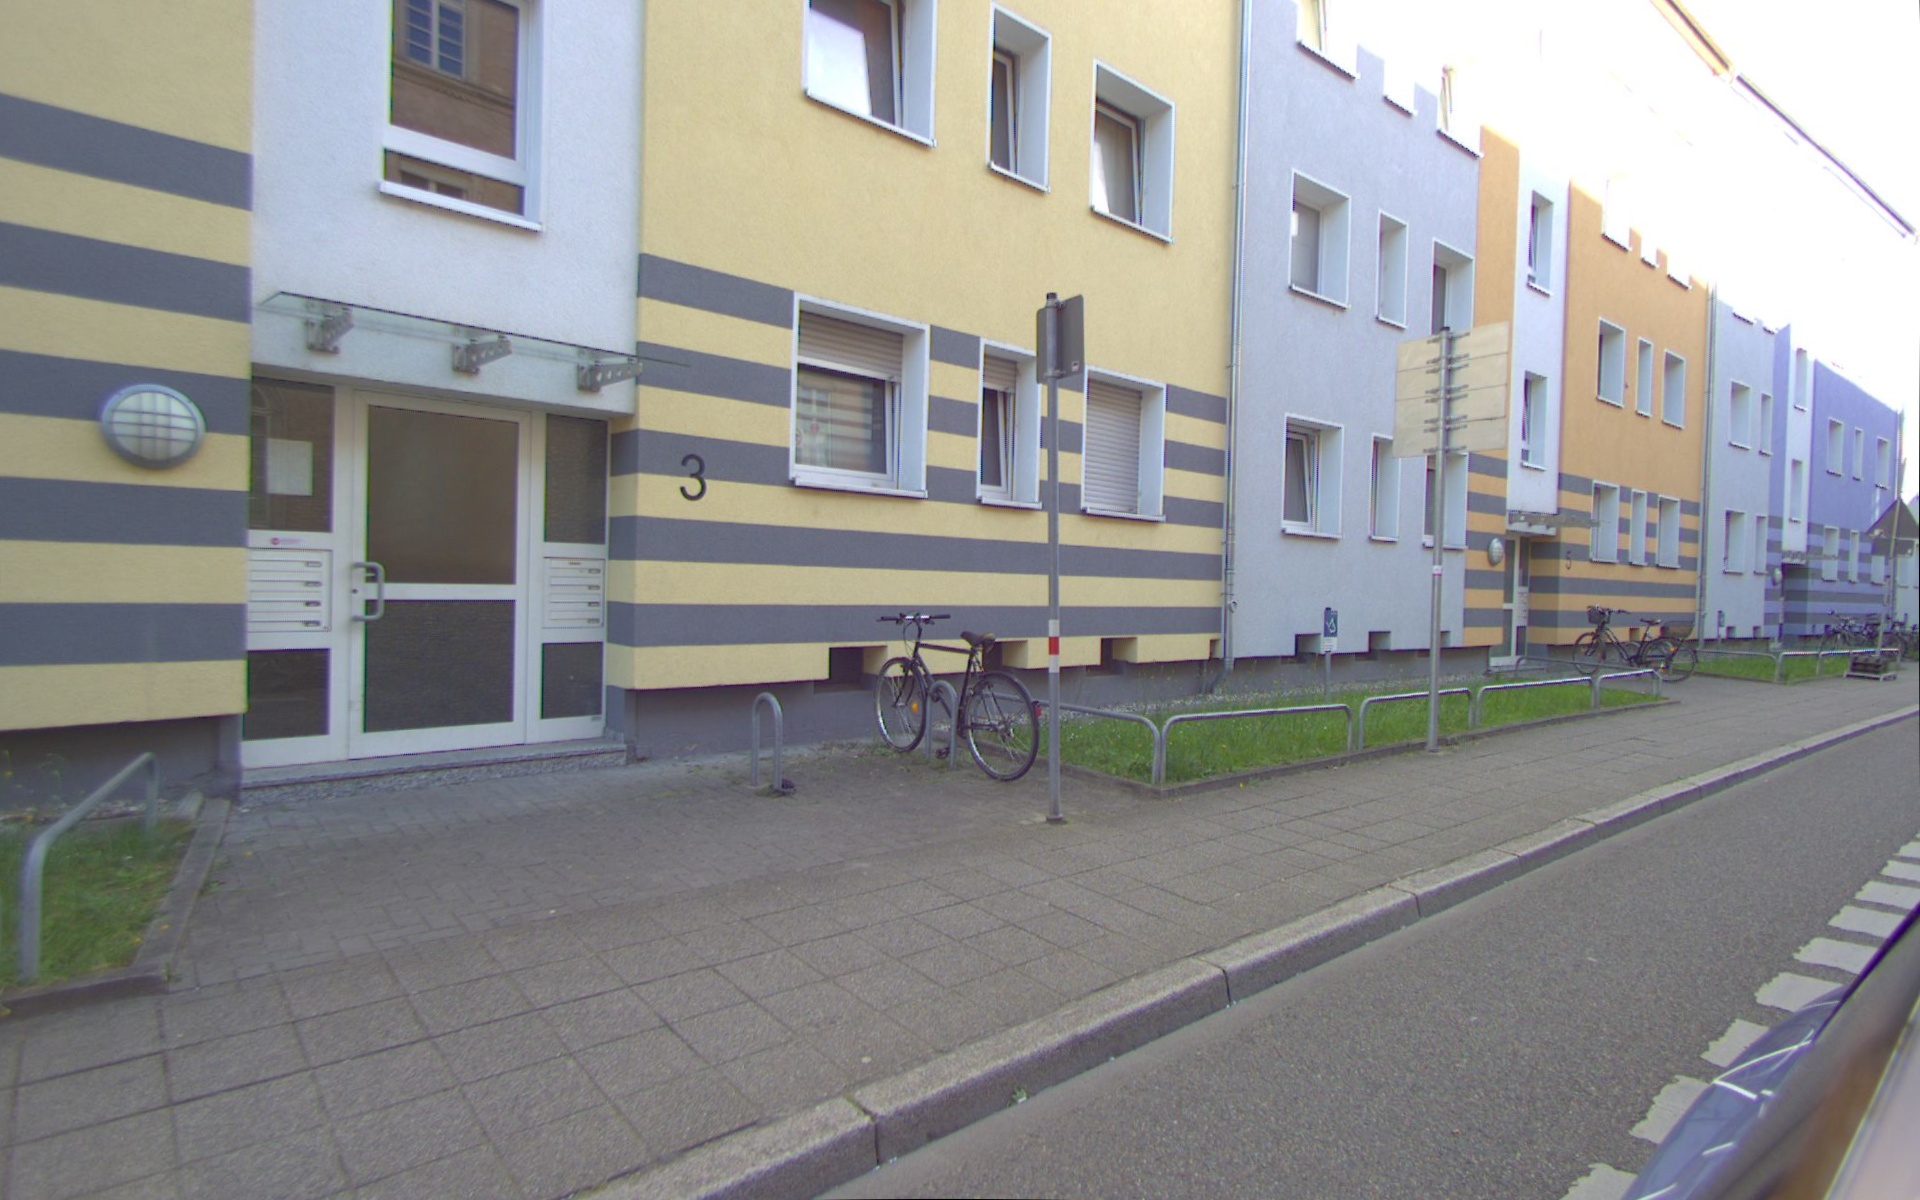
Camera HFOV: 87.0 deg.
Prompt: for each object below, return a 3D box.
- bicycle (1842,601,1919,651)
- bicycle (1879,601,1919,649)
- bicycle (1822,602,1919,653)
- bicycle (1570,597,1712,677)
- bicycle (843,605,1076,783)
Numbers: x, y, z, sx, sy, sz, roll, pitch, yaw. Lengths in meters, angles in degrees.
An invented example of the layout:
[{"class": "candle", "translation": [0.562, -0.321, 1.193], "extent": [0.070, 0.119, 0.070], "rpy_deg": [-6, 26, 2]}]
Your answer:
[{"class": "bicycle", "translation": [23.327, 0.635, 25.436], "extent": [0.475, 1.166, 1.678], "rpy_deg": [1, 1, -37]}, {"class": "bicycle", "translation": [24.155, 0.647, 25.292], "extent": [0.475, 1.166, 1.678], "rpy_deg": [1, 1, -37]}, {"class": "bicycle", "translation": [22.246, 0.652, 24.743], "extent": [0.475, 1.166, 1.678], "rpy_deg": [1, 1, -37]}, {"class": "bicycle", "translation": [10.707, 0.555, 15.961], "extent": [1.775, 1.137, 0.476], "rpy_deg": [3, 1, 44]}, {"class": "bicycle", "translation": [-0.055, 0.582, 7.032], "extent": [1.775, 1.031, 0.476], "rpy_deg": [3, 1, 44]}]
